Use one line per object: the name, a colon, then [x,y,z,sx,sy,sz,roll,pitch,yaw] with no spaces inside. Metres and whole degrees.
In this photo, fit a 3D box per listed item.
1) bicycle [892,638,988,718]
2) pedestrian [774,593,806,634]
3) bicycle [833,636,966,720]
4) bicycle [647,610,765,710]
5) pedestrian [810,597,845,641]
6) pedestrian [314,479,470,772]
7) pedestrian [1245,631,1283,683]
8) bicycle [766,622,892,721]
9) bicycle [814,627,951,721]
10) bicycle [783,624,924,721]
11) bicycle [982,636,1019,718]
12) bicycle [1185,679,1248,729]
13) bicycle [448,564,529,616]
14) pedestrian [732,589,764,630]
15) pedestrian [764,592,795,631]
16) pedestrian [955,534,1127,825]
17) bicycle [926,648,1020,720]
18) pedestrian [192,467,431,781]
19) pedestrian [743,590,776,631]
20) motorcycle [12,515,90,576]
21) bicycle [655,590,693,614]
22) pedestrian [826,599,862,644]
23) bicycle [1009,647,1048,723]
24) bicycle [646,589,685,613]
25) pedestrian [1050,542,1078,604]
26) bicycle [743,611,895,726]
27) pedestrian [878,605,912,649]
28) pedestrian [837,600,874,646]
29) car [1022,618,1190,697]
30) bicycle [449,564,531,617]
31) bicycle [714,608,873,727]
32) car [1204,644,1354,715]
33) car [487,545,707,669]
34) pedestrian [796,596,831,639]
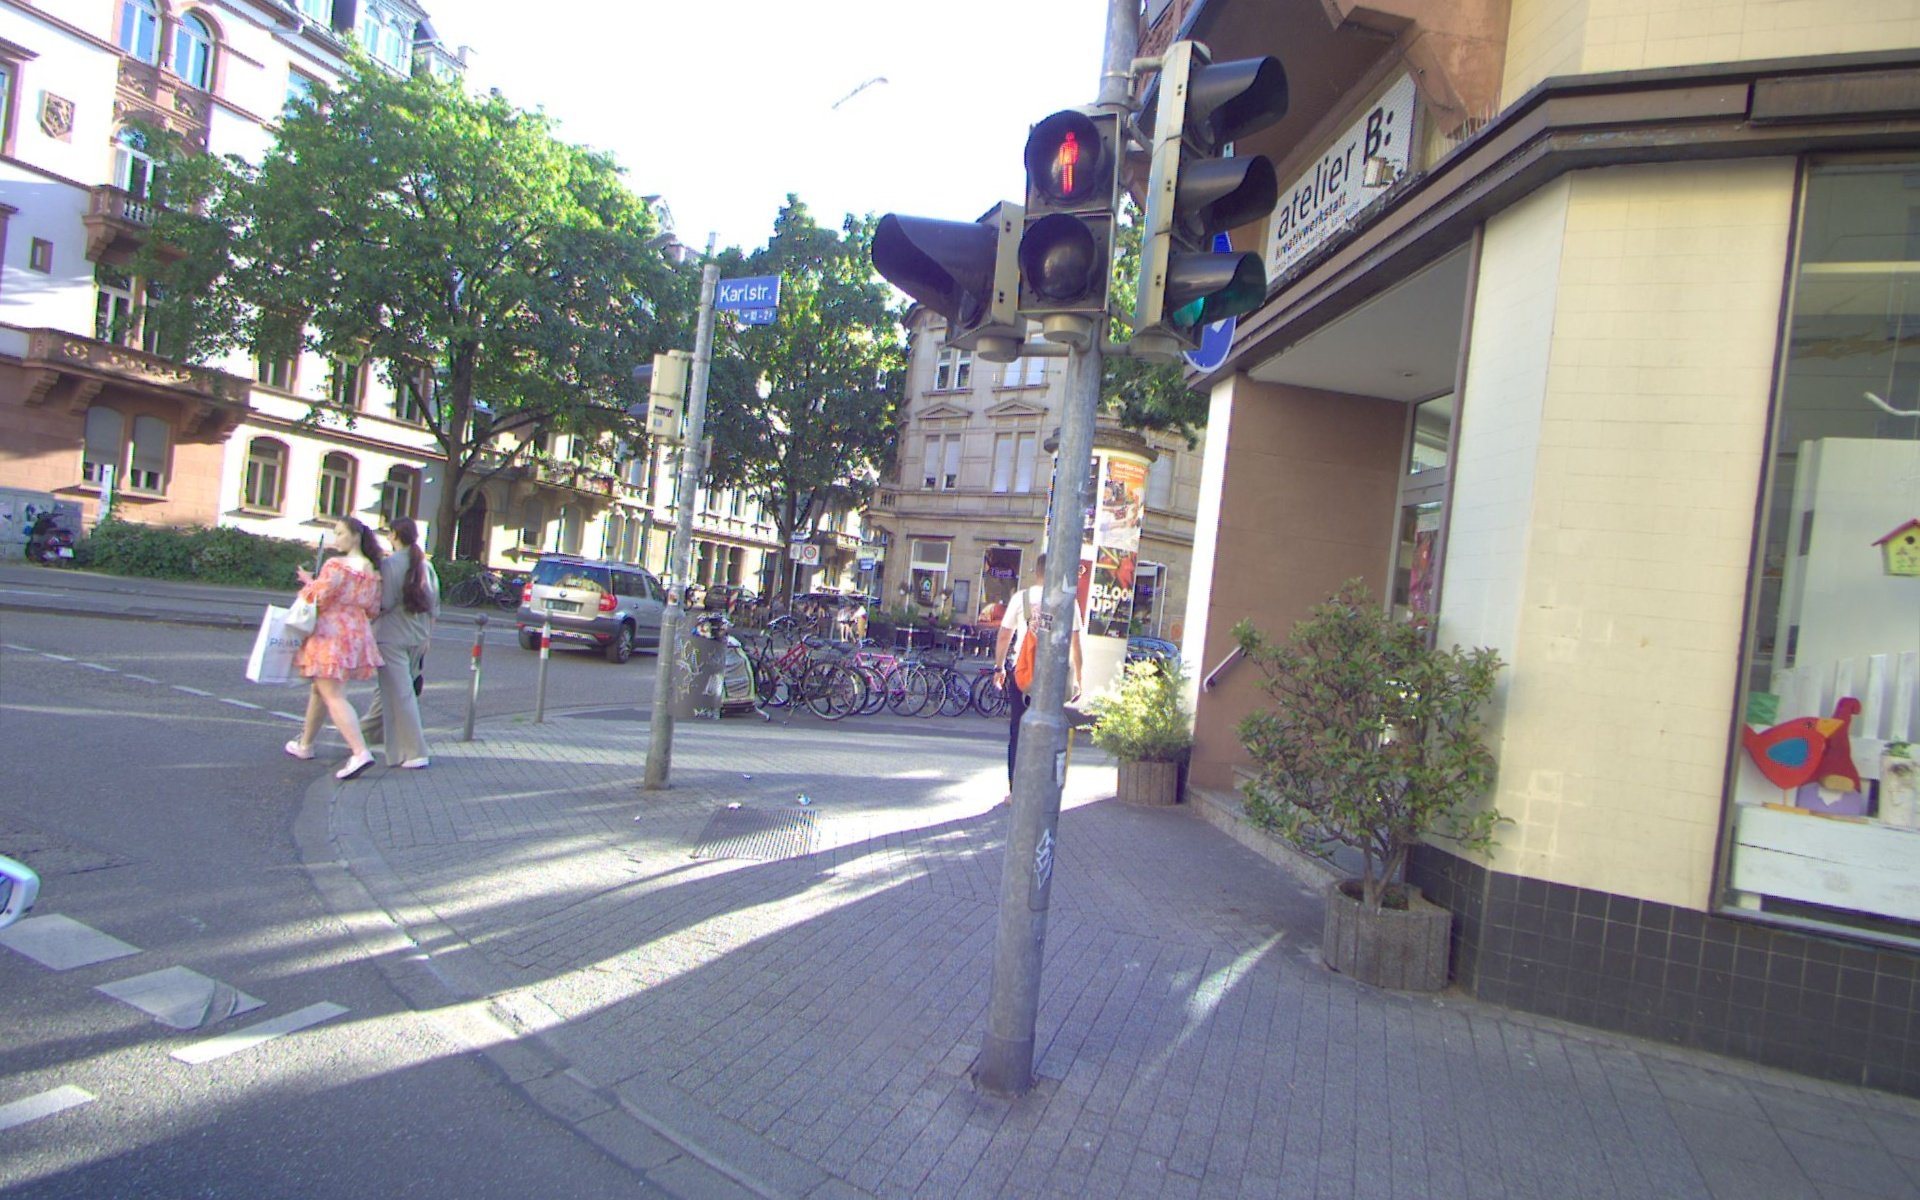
bicycle: [-0.319,1.175,15.281,1.383,1.055,0.449,5,0,35]
pedestrian: [-6.371,0.494,37.732,0.905,1.448,0.758,2,3,-34]
bicycle: [-0.895,1.113,14.624,1.887,1.012,0.450,5,0,27]
bicycle: [-3.008,0.708,11.944,1.046,1.057,0.778,5,-1,32]
pedestrian: [-4.621,0.673,35.020,0.905,1.448,0.758,2,3,-34]
pedestrian: [-3.994,0.163,7.105,0.657,1.936,0.691,4,4,1]
pedestrian: [10.834,2.032,35.809,0.756,1.759,0.908,2,3,-30]
bicycle: [-1.737,0.925,13.286,1.583,1.125,0.450,5,0,27]
bicycle: [-1.109,1.027,14.207,1.887,1.112,0.450,5,0,27]
bicycle: [-1.464,0.974,13.725,1.887,1.112,0.450,5,0,27]
bicycle: [0.650,1.226,16.464,0.442,1.238,1.405,5,-1,0]
bicycle: [4.450,1.792,17.434,1.125,0.768,0.395,1,3,-35]
bicycle: [-12.638,-0.262,26.991,1.844,1.176,0.555,7,2,-30]
pedestrian: [-8.021,0.362,38.043,0.905,1.448,0.758,2,3,-35]
pedestrian: [-6.948,0.436,38.725,0.905,1.448,0.758,2,3,-35]
pedestrian: [0.599,0.500,7.117,0.793,1.825,1.090,7,5,19]
bicycle: [0.195,1.294,15.706,1.383,0.961,0.449,5,-1,35]
pedestrian: [-4.146,0.161,6.499,0.747,1.820,0.809,7,-1,8]
pedestrian: [-7.409,0.398,37.217,0.905,1.448,0.758,2,3,-34]
motorcycle: [-20.116,-1.216,22.258,2.250,1.033,0.719,9,2,35]
bicycle: [-13.408,0.084,47.146,1.765,0.904,0.493,6,0,25]
pedestrian: [-3.935,0.728,34.114,0.905,1.448,0.758,2,3,-35]
bicycle: [1.089,1.340,16.200,0.442,1.099,1.405,5,-1,0]
bicycle: [-13.645,0.041,46.537,1.765,0.904,0.493,6,0,25]
pedestrian: [3.547,-0.910,34.288,0.725,1.990,0.730,6,0,5]
bicycle: [-1.803,0.846,12.749,1.887,1.238,0.450,5,0,27]
pedestrian: [-2.309,0.951,35.471,0.758,1.448,0.906,2,3,-36]
pedestrian: [-3.493,0.762,33.473,0.905,1.448,0.758,2,3,-34]
car: [3.866,1.516,26.642,3.950,1.593,1.792,7,0,-26]
bicycle: [-12.356,-0.244,26.464,1.844,1.176,0.555,7,2,-30]
bicycle: [-2.051,0.805,12.293,1.887,1.238,0.505,5,0,27]
car: [9.370,2.336,29.540,3.950,1.593,1.792,7,0,-26]
car: [-6.278,0.128,17.960,1.963,1.637,4.001,10,1,5]
pedestrian: [-5.215,0.618,35.856,0.905,1.448,0.758,2,3,-35]
